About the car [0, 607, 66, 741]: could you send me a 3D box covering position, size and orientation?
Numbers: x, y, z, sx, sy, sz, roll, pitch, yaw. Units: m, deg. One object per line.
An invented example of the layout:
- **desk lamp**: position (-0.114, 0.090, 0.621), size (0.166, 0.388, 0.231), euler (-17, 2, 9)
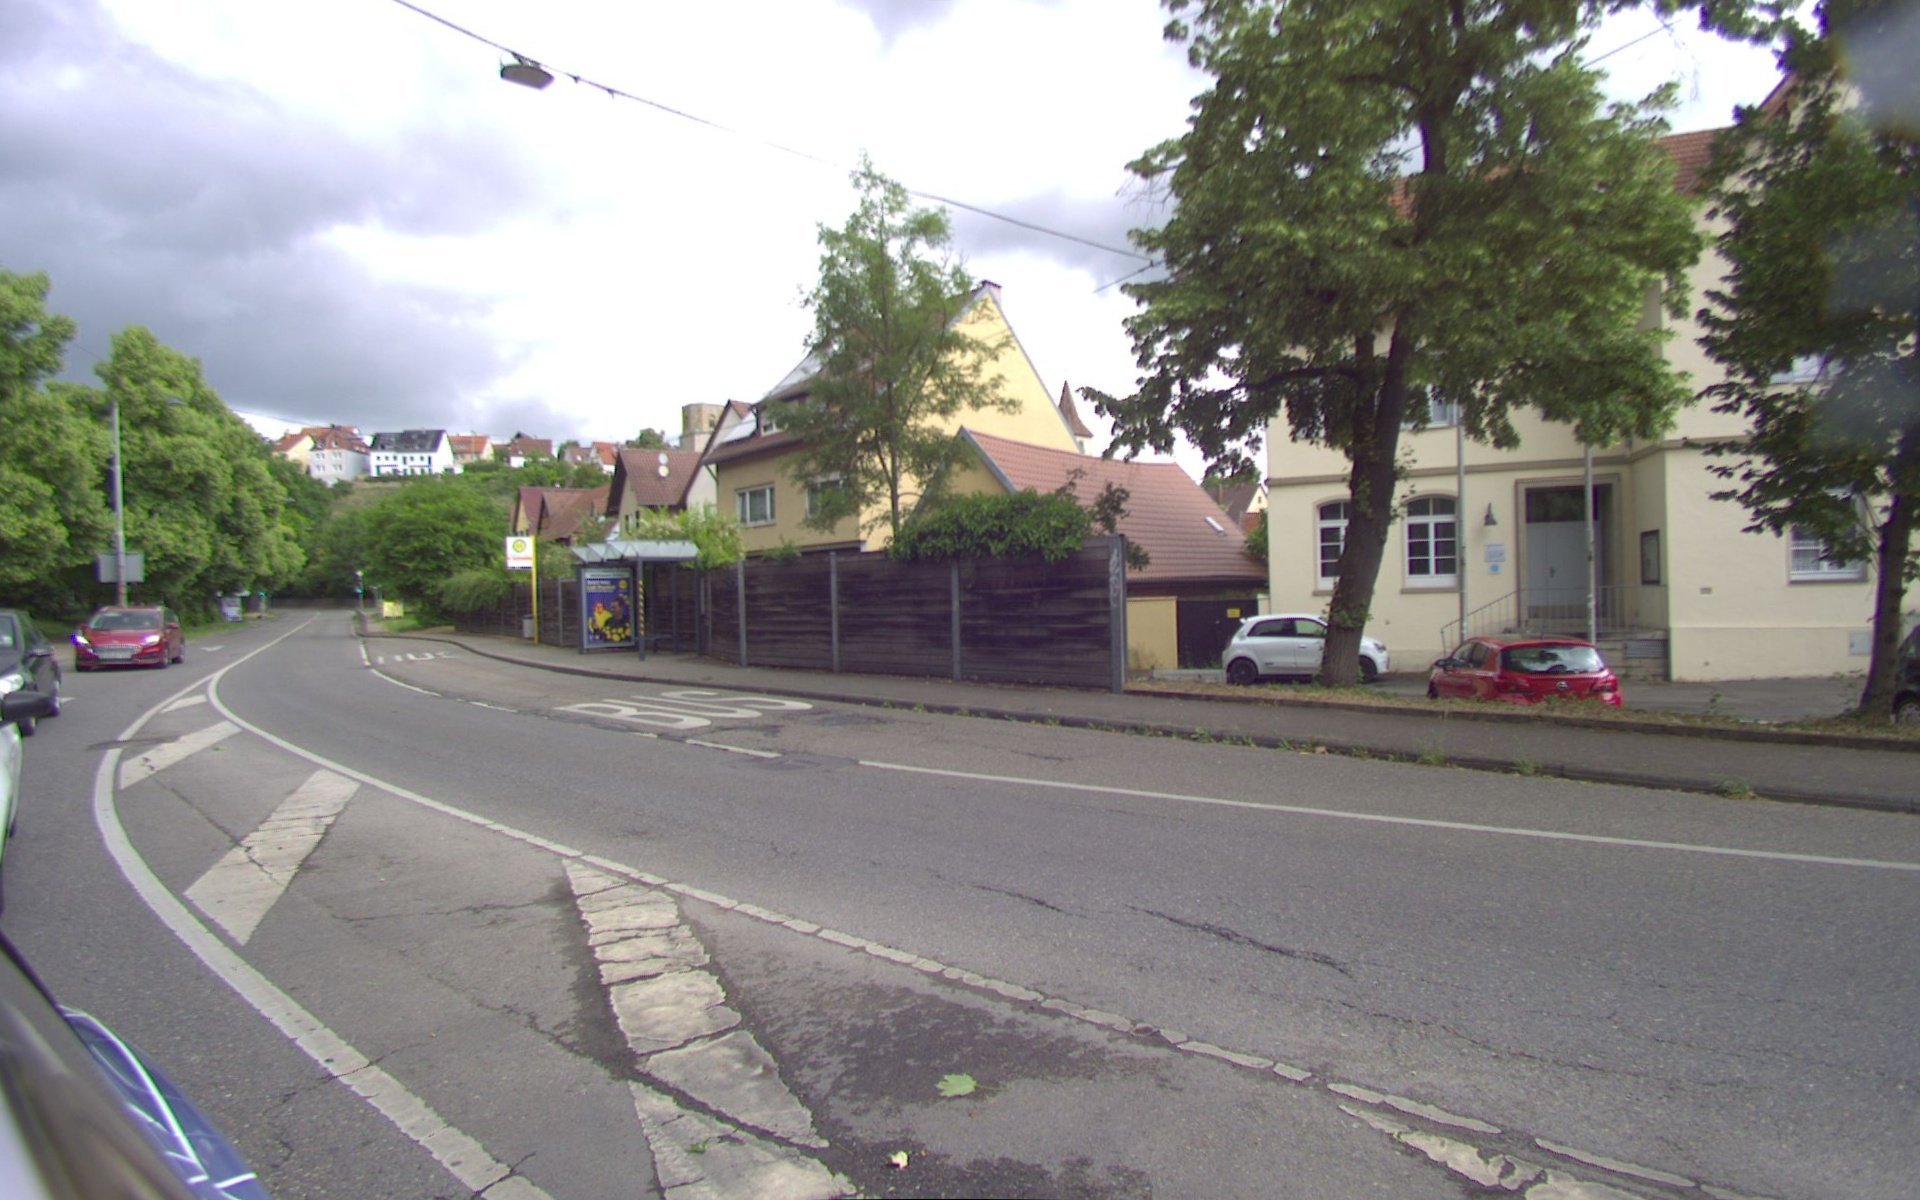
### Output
- **car**: position (-12.816, 0.893, 12.981), size (1.697, 1.559, 3.790), euler (-1, 0, -37)

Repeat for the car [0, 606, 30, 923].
- **car**: position (-6.032, 0.815, 5.278), size (1.594, 1.525, 3.610), euler (-1, 0, -41)

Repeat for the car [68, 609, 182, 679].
- **car**: position (-22.188, 1.092, 27.043), size (1.798, 1.685, 4.070), euler (-1, 0, -32)

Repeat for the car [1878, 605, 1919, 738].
- **car**: position (12.699, 0.889, 11.588), size (1.586, 1.644, 3.093), euler (-1, 0, 2)

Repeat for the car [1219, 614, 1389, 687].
- **car**: position (7.746, 1.108, 22.927), size (3.487, 1.528, 1.581), euler (-1, 0, 20)

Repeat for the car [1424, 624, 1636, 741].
- **car**: position (8.126, 1.104, 14.771), size (1.590, 1.389, 3.544), euler (-1, 0, 10)
